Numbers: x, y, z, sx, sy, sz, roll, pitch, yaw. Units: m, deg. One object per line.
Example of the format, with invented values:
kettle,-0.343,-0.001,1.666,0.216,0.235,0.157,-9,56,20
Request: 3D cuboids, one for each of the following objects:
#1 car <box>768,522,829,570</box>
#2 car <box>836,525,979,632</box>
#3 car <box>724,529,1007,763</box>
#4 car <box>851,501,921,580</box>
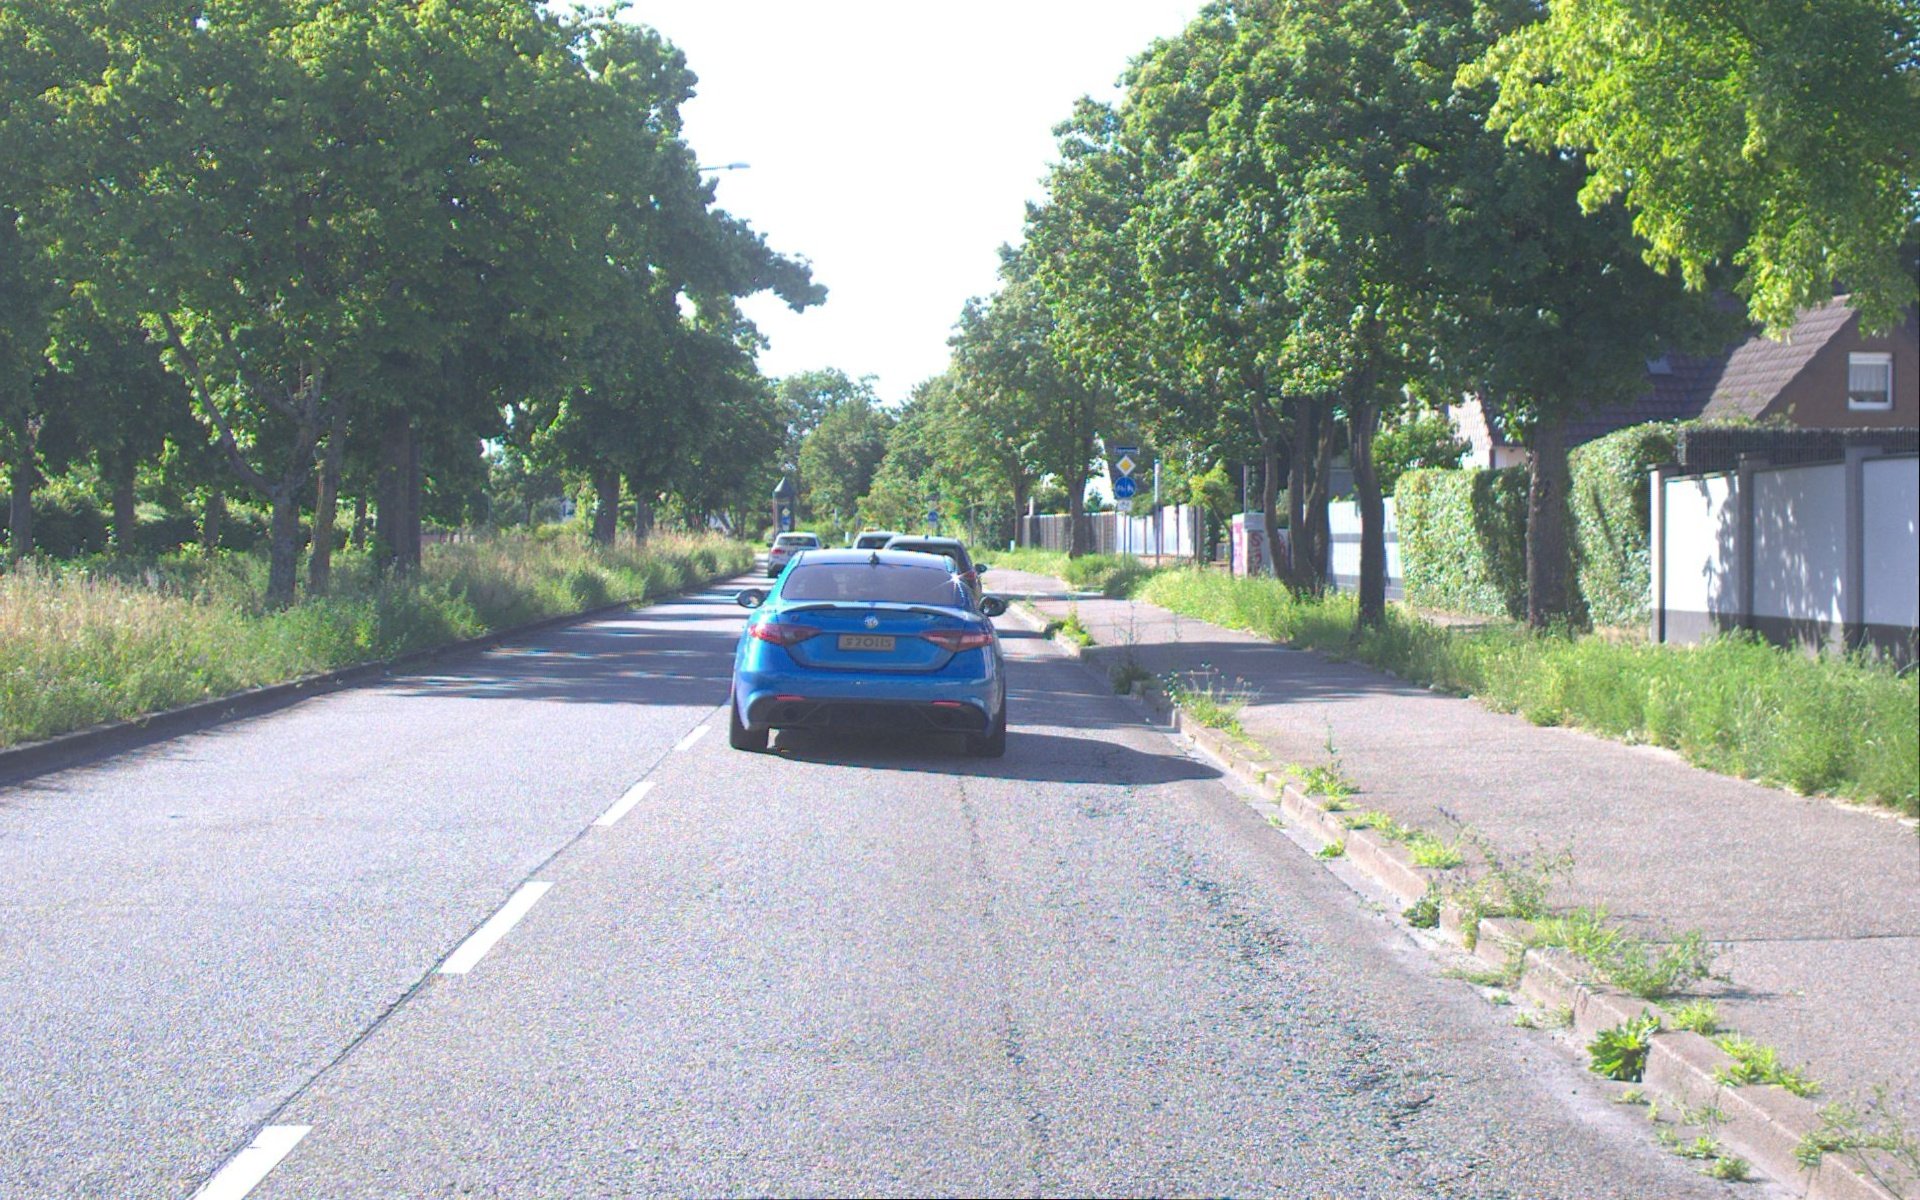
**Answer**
car,-5.150,-1.729,109.454,1.915,1.507,4.068,0,1,-3
car,-0.869,-0.346,53.997,1.915,1.574,4.183,-1,1,-5
car,-0.648,0.264,24.852,1.838,1.469,4.185,1,2,-1
car,-1.965,-1.565,91.127,1.792,2.007,4.000,1,1,-1
